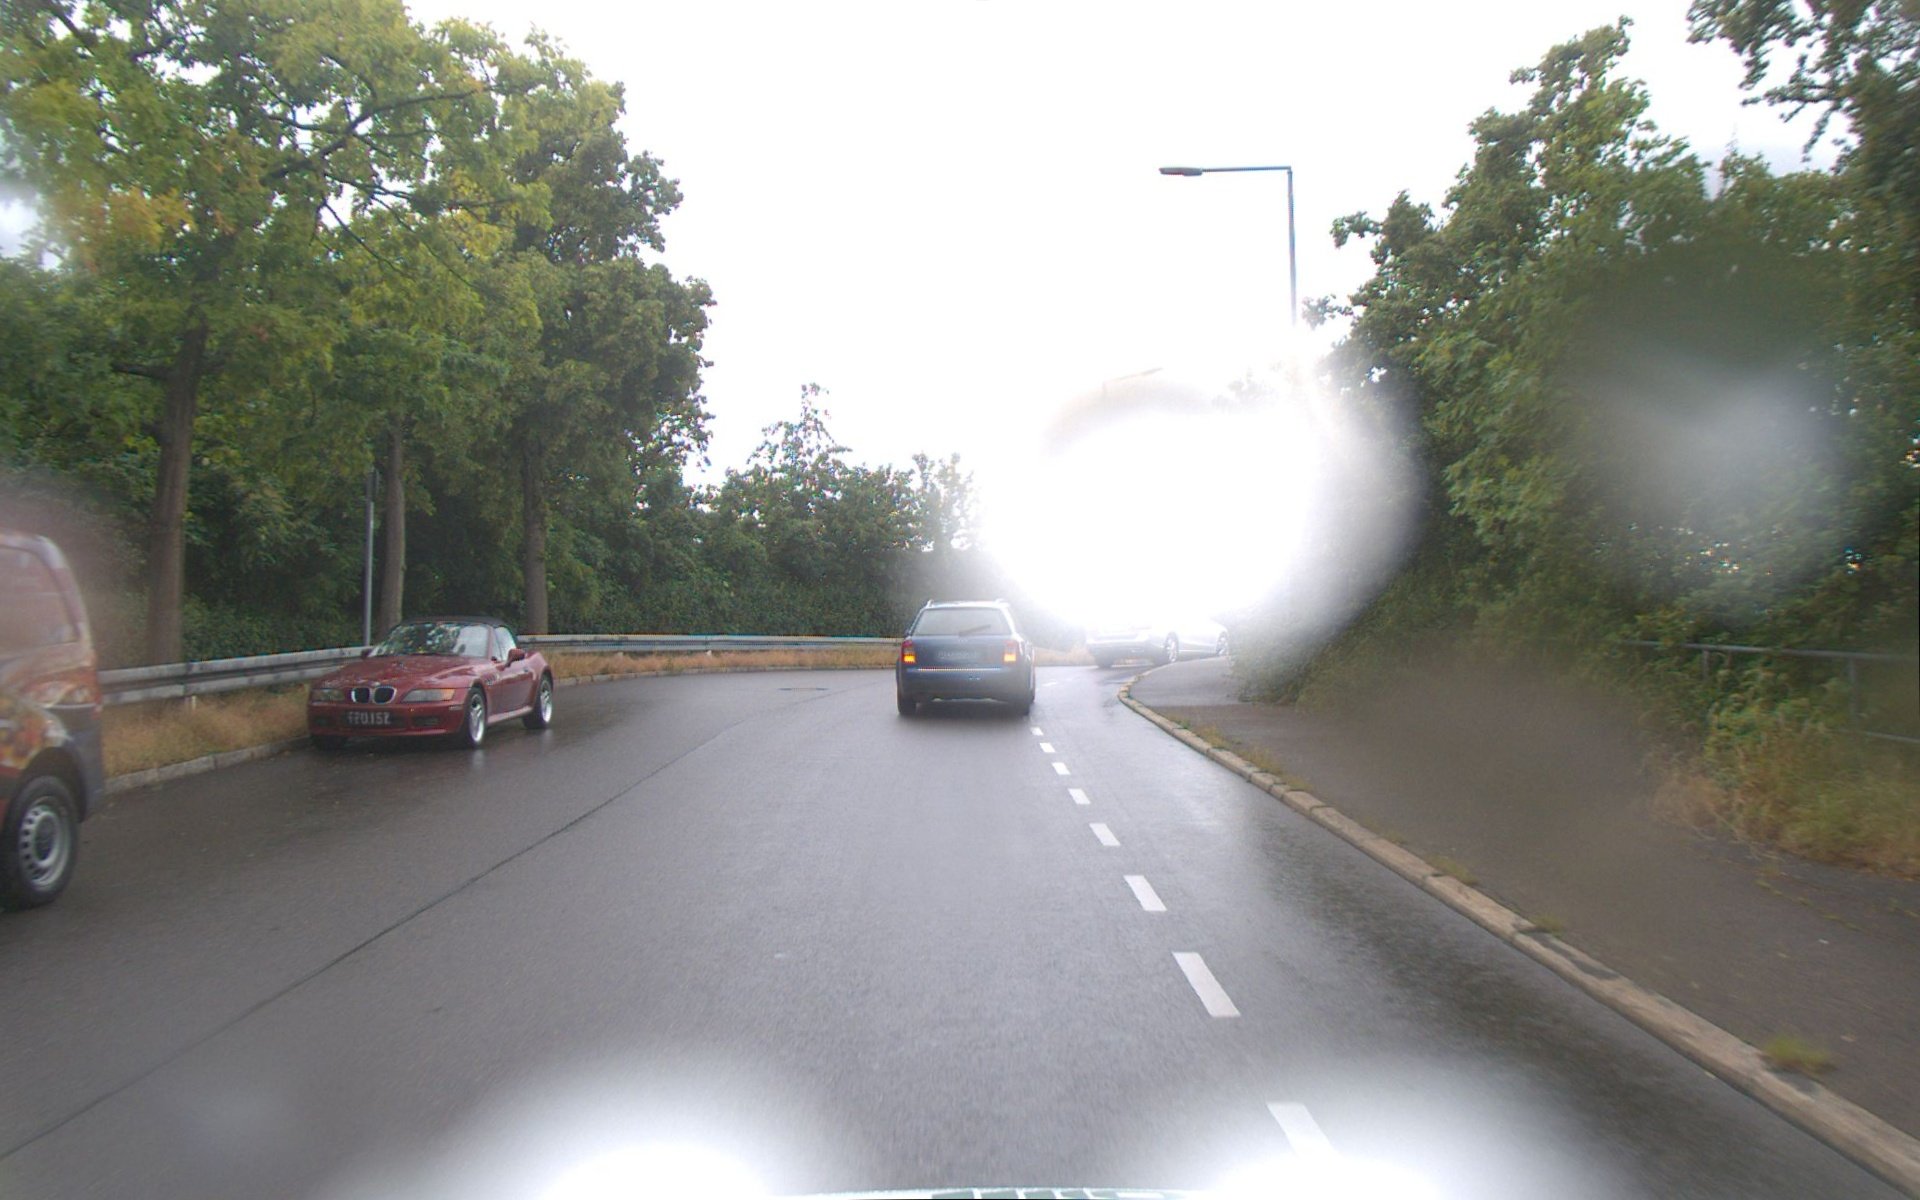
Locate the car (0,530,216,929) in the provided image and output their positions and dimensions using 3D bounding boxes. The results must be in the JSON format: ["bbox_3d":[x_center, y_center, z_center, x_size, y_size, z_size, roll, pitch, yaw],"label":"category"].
[{"bbox_3d":[-5.492,0.620,7.172,2.041,1.851,5.380,-1,0,0],"label":"car"}]

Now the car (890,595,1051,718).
[{"bbox_3d":[0.237,0.679,22.246,1.710,1.432,4.003,0,1,7],"label":"car"}]

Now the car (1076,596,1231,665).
[{"bbox_3d":[4.268,0.637,36.002,1.856,1.413,3.991,-1,-1,31],"label":"car"}]

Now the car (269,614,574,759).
[{"bbox_3d":[-5.650,0.847,17.946,1.752,1.319,4.326,-1,0,2],"label":"car"}]
